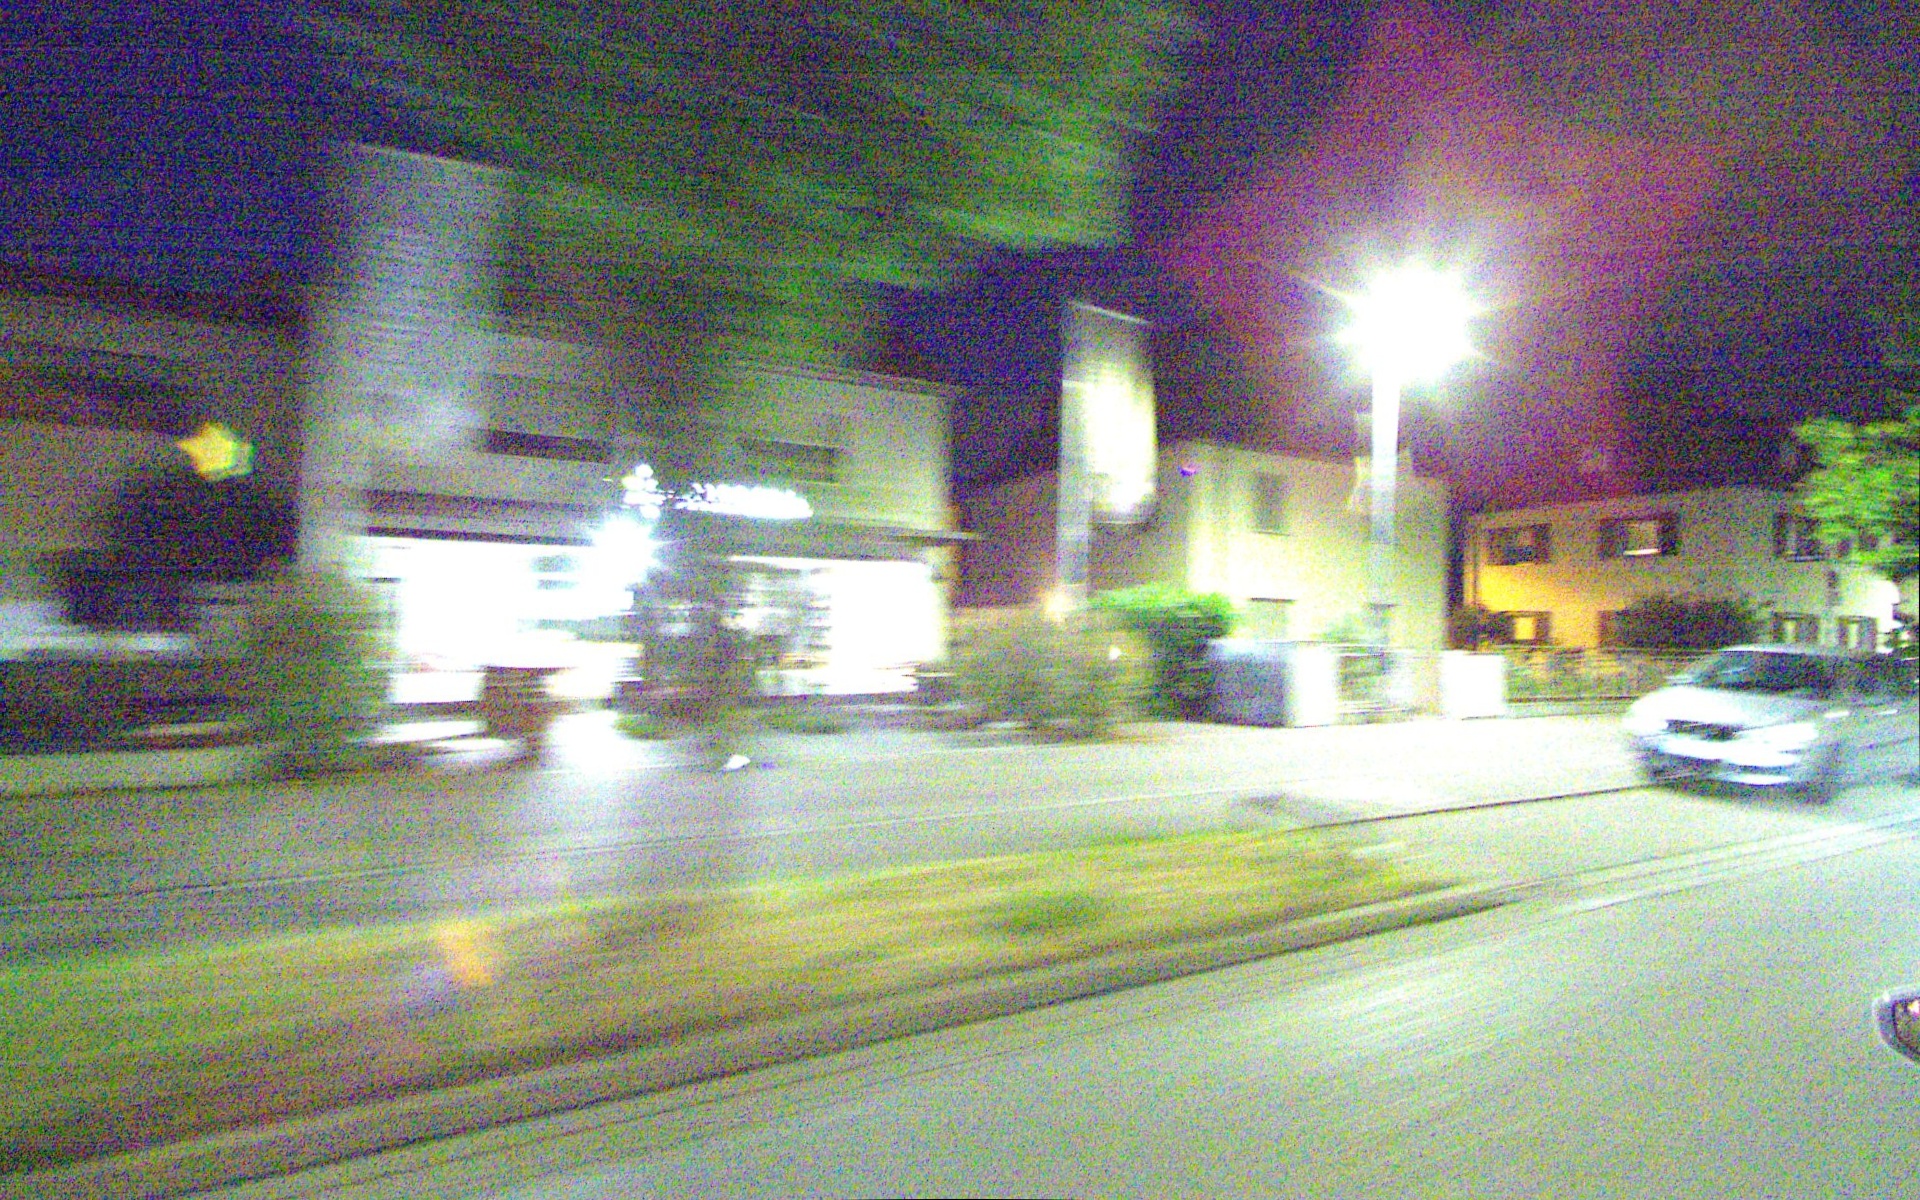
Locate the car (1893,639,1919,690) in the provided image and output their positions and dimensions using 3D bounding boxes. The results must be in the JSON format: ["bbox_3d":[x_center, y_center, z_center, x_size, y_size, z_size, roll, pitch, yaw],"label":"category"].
[{"bbox_3d":[31.987,2.066,31.480,1.751,1.648,3.718,1,-2,-11],"label":"car"}]

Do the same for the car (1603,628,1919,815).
[{"bbox_3d":[8.705,1.137,10.606,3.941,1.612,1.664,1,-1,-31],"label":"car"}]
